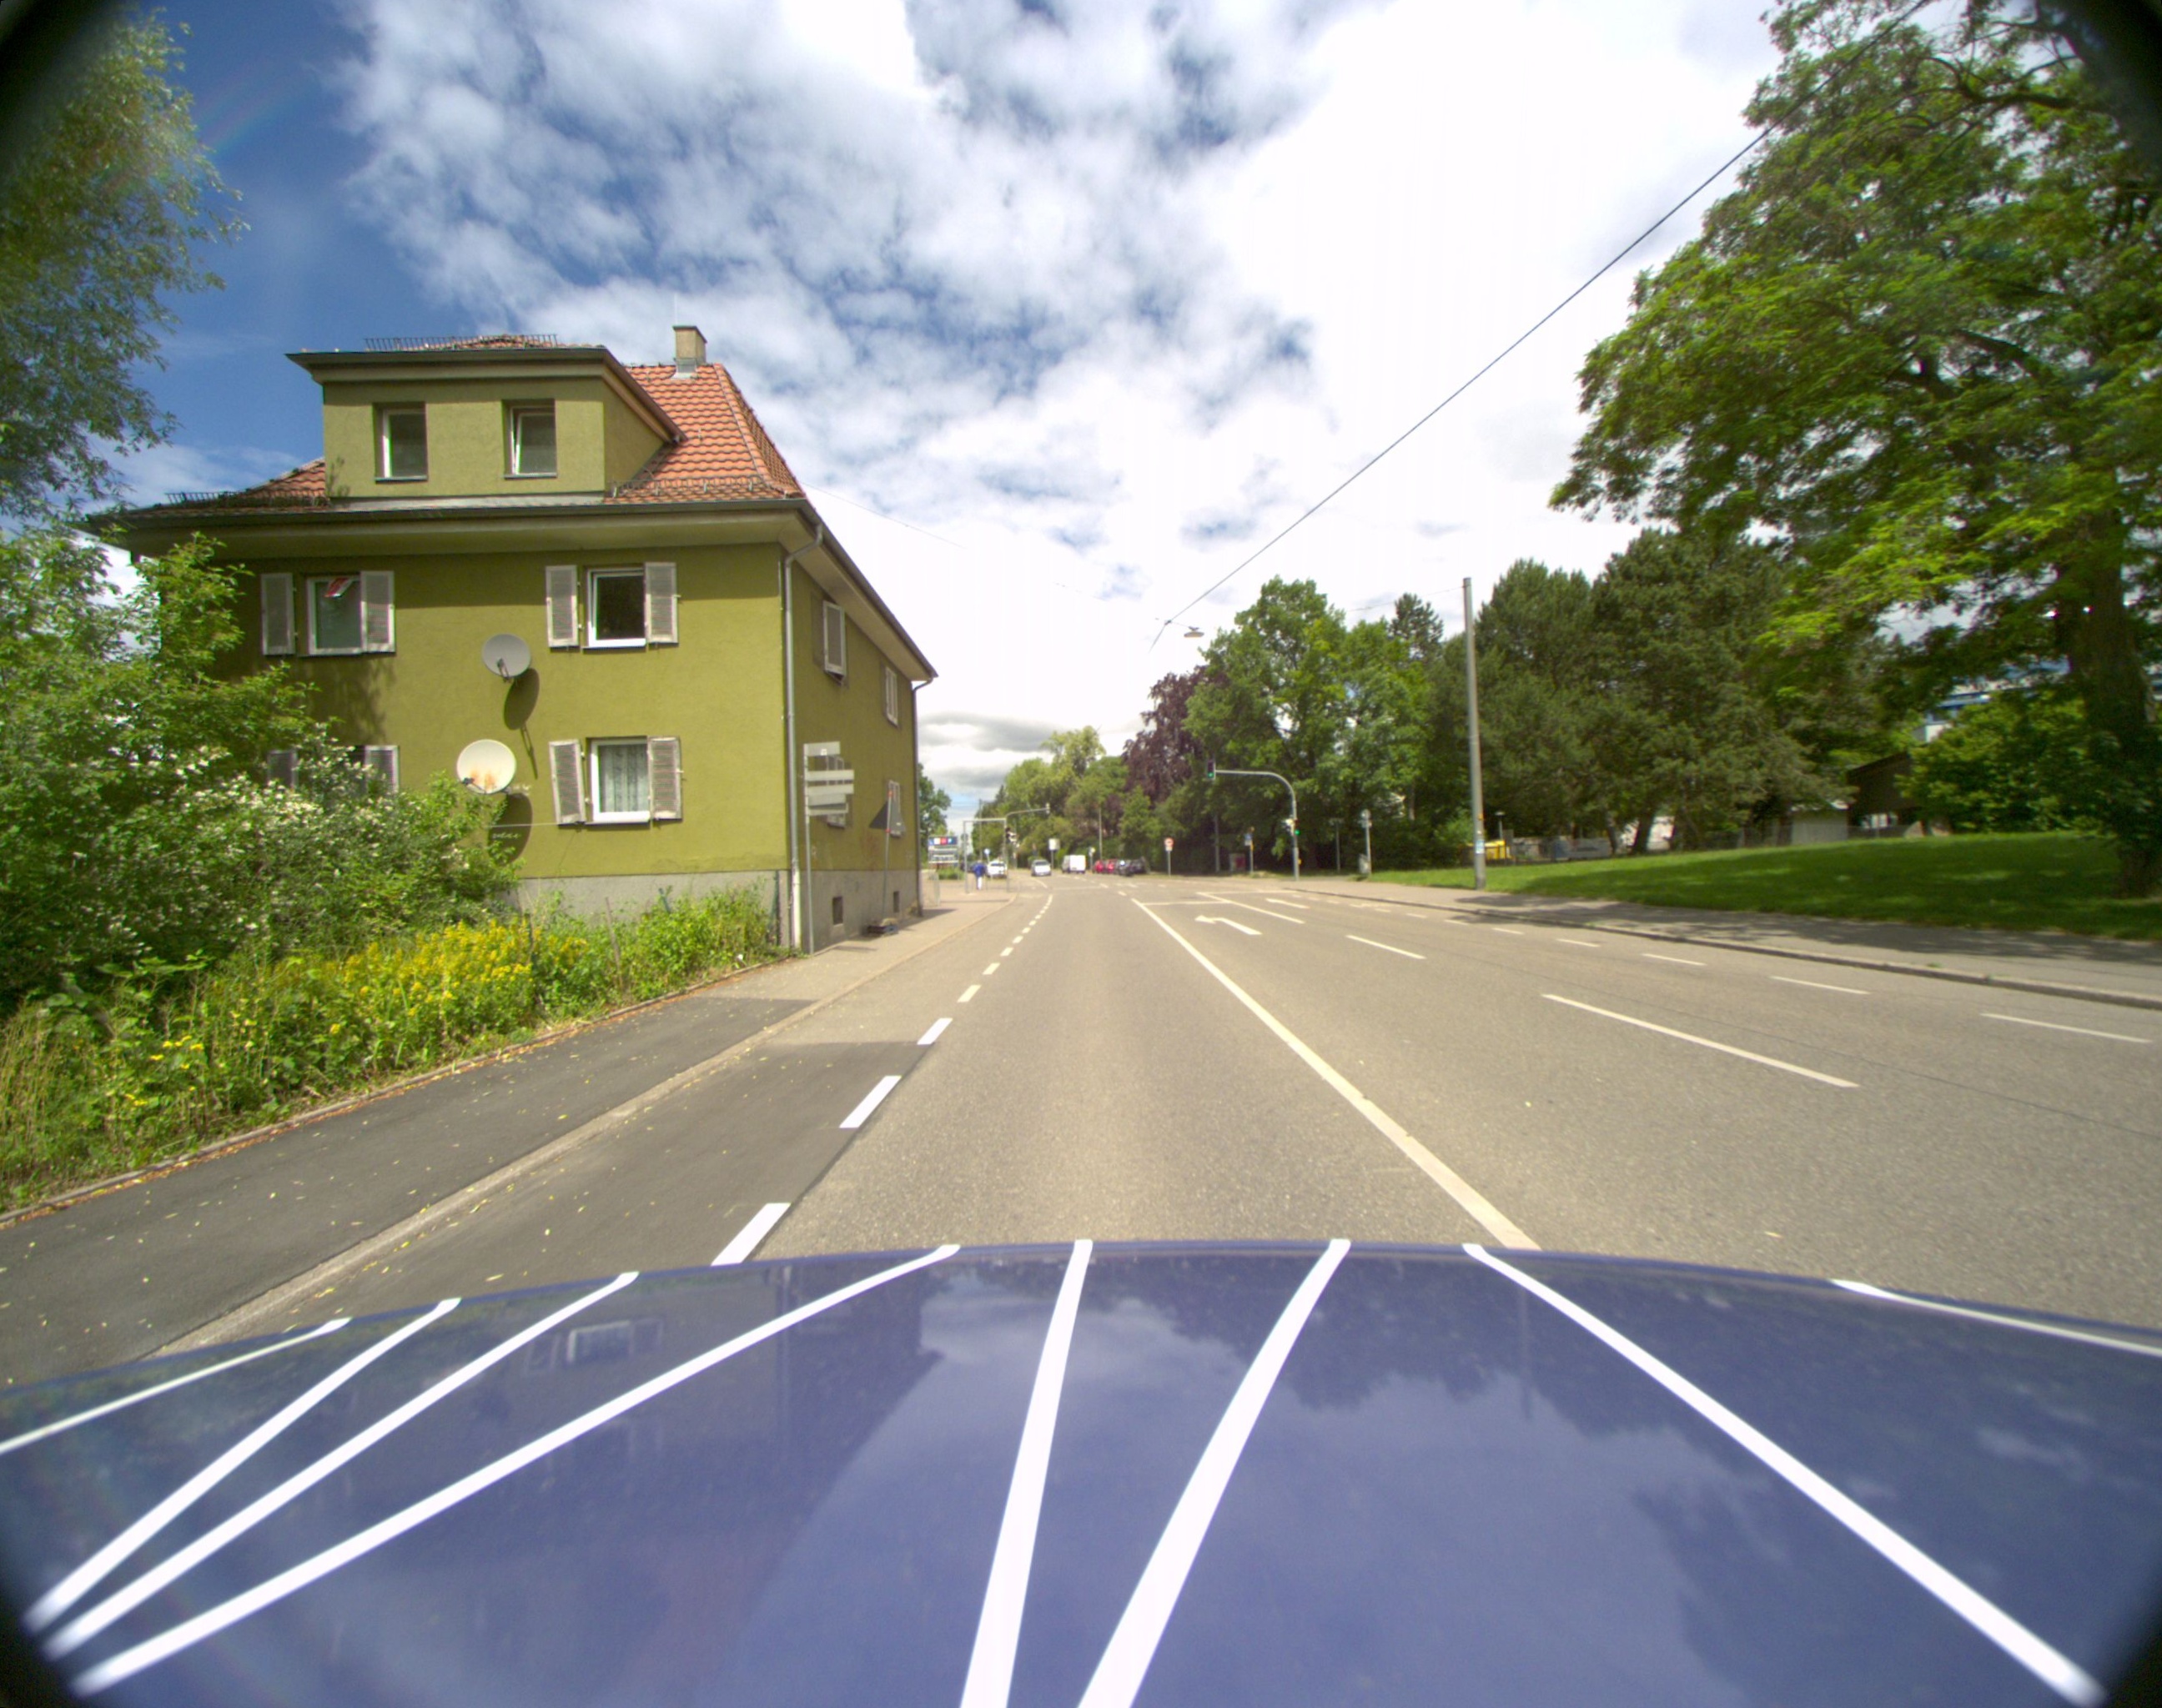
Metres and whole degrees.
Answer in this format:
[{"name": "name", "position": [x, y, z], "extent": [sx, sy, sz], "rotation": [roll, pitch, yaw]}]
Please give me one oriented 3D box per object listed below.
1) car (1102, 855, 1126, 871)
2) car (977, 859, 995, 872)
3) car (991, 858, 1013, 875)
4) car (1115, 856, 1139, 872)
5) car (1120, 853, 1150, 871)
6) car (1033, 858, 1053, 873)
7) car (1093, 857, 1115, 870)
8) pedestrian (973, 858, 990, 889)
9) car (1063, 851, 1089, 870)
[{"name": "car", "position": [3.341, 0.907, 76.961], "extent": [1.524, 1.469, 3.321], "rotation": [-3, 0, -12]}, {"name": "car", "position": [-12.196, 1.416, 97.294], "extent": [1.707, 1.522, 3.995], "rotation": [-3, 0, -15]}, {"name": "car", "position": [-7.202, 1.096, 69.035], "extent": [1.796, 1.522, 3.918], "rotation": [1, 0, -8]}, {"name": "car", "position": [4.359, 0.918, 72.578], "extent": [1.560, 1.404, 3.191], "rotation": [-3, 1, -9]}, {"name": "car", "position": [4.767, 0.721, 67.850], "extent": [1.688, 1.407, 4.398], "rotation": [-3, 1, -9]}, {"name": "car", "position": [-3.814, 1.116, 75.812], "extent": [1.552, 1.418, 3.853], "rotation": [-3, 0, -9]}, {"name": "car", "position": [2.427, 0.999, 81.955], "extent": [1.531, 1.358, 3.371], "rotation": [-3, 1, -12]}, {"name": "pedestrian", "position": [-5.211, 1.014, 39.744], "extent": [0.826, 1.563, 0.987], "rotation": [-1, 1, -4]}, {"name": "car", "position": [-0.558, 0.714, 82.869], "extent": [2.000, 2.011, 5.347], "rotation": [-1, 0, -10]}]
